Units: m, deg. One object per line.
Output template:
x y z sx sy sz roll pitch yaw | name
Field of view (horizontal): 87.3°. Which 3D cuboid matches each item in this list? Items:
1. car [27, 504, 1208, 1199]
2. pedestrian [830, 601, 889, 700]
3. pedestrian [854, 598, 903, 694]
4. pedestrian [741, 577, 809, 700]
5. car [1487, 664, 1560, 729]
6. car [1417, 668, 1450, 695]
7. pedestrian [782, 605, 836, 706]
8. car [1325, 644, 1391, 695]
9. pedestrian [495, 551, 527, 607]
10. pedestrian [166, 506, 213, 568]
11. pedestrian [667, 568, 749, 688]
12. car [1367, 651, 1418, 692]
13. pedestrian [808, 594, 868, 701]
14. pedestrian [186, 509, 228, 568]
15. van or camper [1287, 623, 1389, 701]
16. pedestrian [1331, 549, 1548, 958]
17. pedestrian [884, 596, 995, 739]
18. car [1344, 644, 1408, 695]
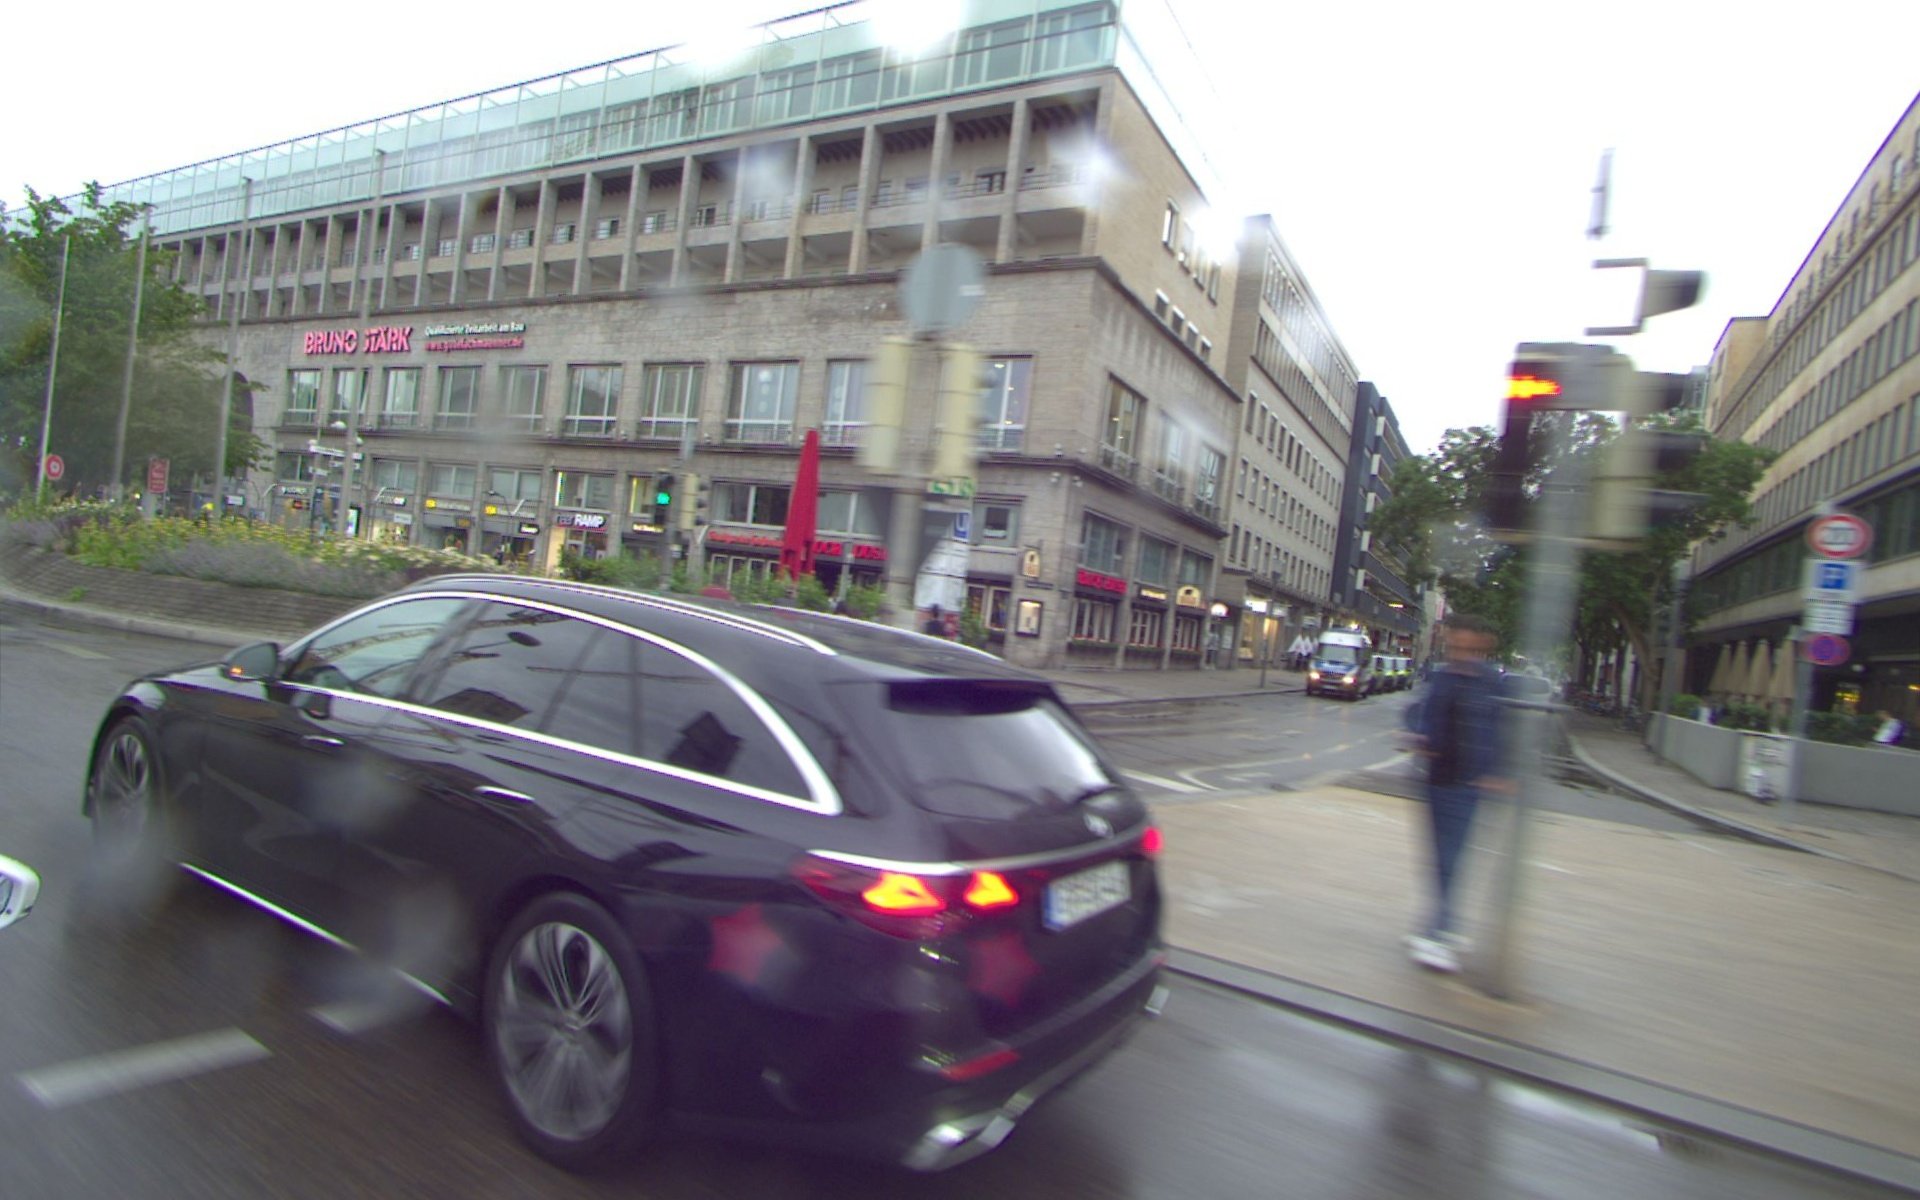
-1.629 0.603 3.987 4.622 1.481 1.821 6 -1 32 | car
-1.666 0.844 16.700 0.582 1.547 0.554 7 0 34 | pedestrian
-1.389 0.782 17.131 0.505 1.564 0.424 7 0 34 | pedestrian
-2.882 0.604 15.693 0.670 1.812 0.535 7 0 34 | pedestrian
20.682 3.527 36.919 1.966 1.949 5.158 7 -1 30 | car
41.348 7.128 87.810 1.967 2.038 3.993 7 -1 31 | car
-2.385 0.882 15.918 0.463 1.539 0.499 7 0 34 | pedestrian
19.039 3.326 48.011 2.126 2.072 4.407 7 -1 30 | car
-15.049 -0.697 33.750 0.625 1.772 0.532 7 0 29 | pedestrian
-24.101 -1.973 31.457 1.058 1.772 0.641 7 0 29 | pedestrian
-3.998 0.452 15.968 0.823 1.772 0.699 7 0 29 | pedestrian
25.725 4.280 59.708 2.062 2.127 4.294 7 -1 31 | car
-1.960 0.772 16.168 0.487 1.649 0.626 7 0 32 | pedestrian
-24.186 -1.981 32.313 0.853 1.772 0.614 7 0 29 | pedestrian
15.484 2.577 40.927 2.456 2.672 5.999 7 -1 33 | van or camper
2.567 0.764 5.367 0.779 1.942 0.673 7 0 32 | pedestrian
-0.274 0.918 13.672 0.970 1.783 0.892 7 0 35 | pedestrian
22.064 3.704 53.242 2.295 2.323 4.690 7 -1 31 | car
